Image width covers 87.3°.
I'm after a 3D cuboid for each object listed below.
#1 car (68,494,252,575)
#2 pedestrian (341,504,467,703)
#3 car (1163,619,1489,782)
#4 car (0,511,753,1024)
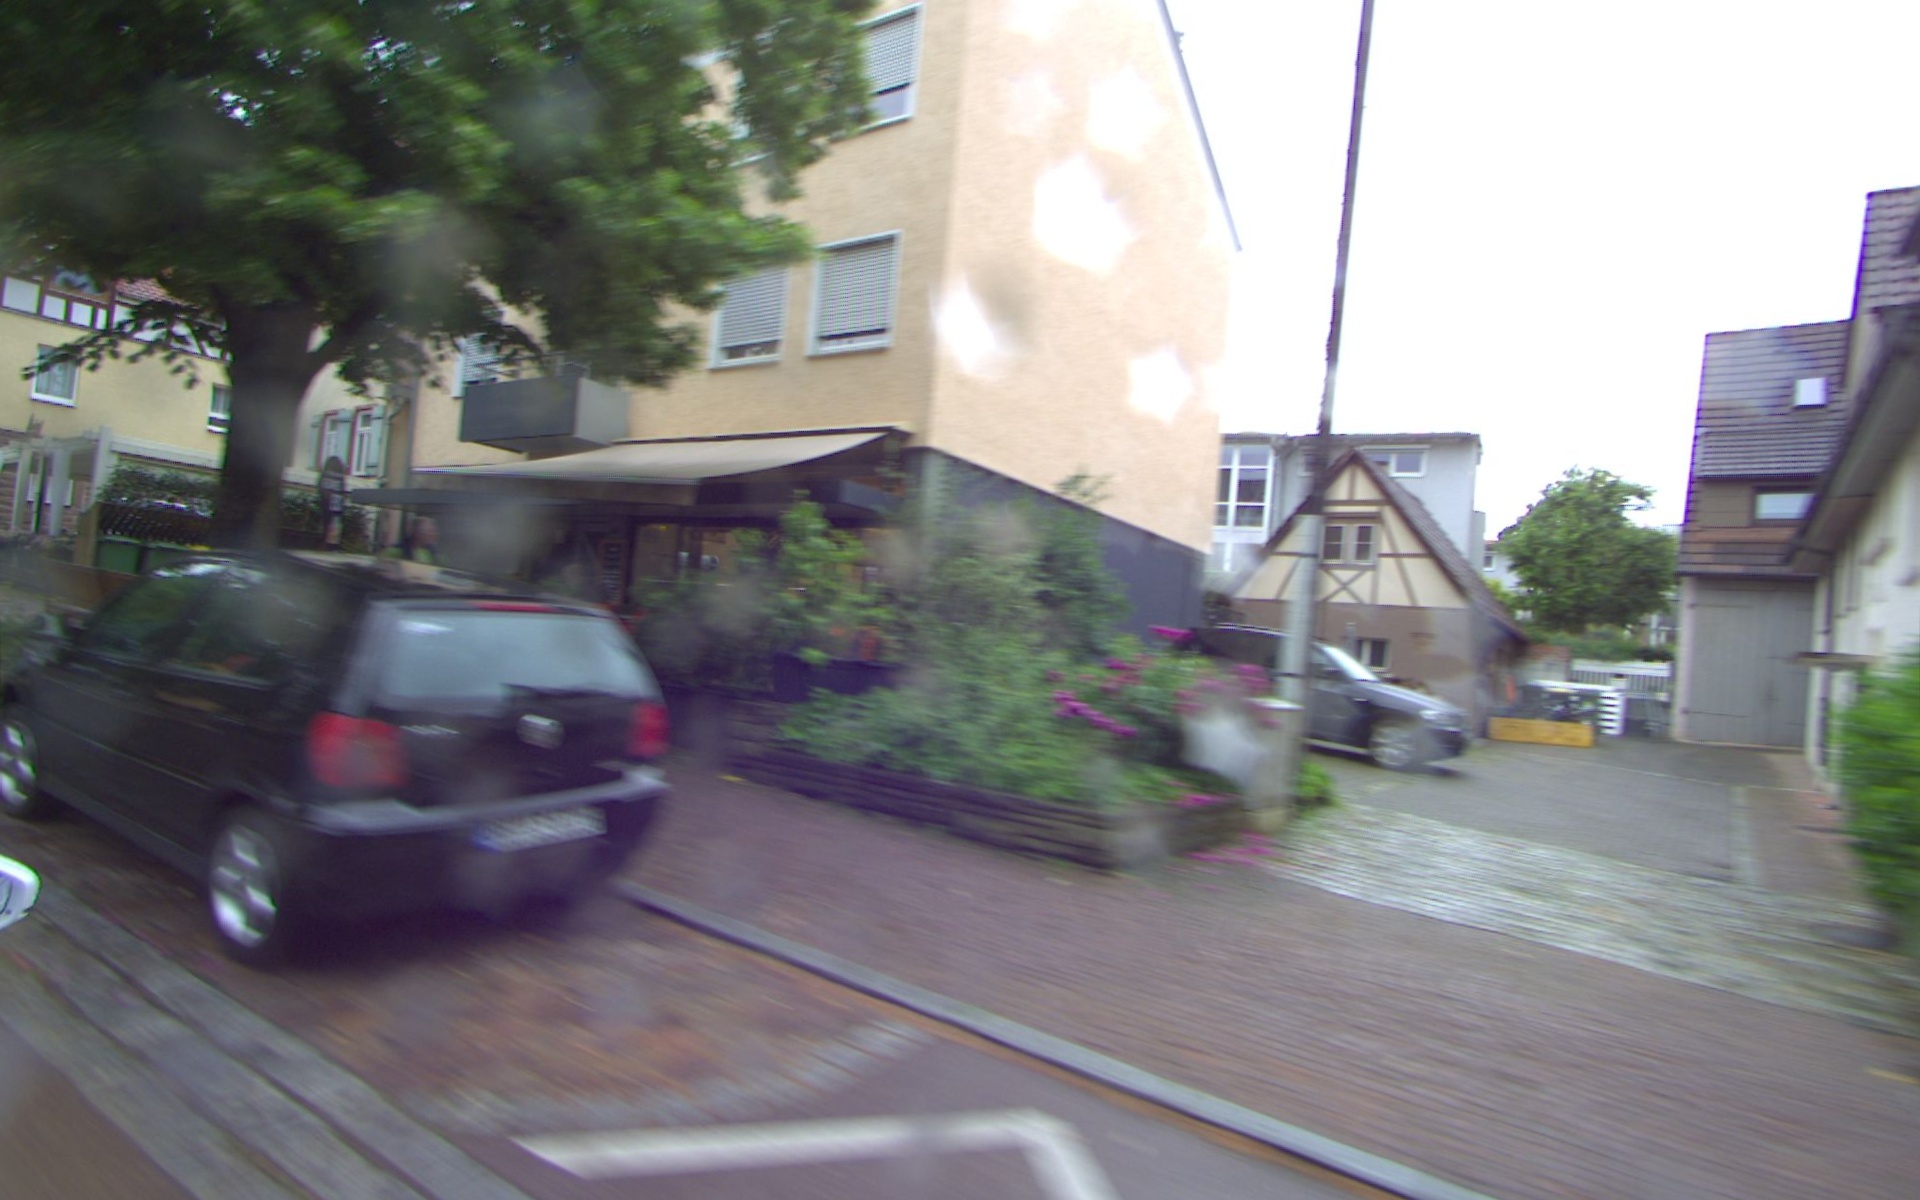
[{"bbox_3d":[-20.161,-1.617,25.435,1.637,1.615,3.282,6,0,39],"label":"car"},{"bbox_3d":[-5.194,0.037,9.401,0.764,1.752,0.486,8,0,-42],"label":"pedestrian"},{"bbox_3d":[5.612,1.459,15.626,4.270,1.700,1.891,8,1,35],"label":"car"},{"bbox_3d":[-3.087,0.510,4.876,3.720,1.427,1.812,7,-2,31],"label":"car"}]
